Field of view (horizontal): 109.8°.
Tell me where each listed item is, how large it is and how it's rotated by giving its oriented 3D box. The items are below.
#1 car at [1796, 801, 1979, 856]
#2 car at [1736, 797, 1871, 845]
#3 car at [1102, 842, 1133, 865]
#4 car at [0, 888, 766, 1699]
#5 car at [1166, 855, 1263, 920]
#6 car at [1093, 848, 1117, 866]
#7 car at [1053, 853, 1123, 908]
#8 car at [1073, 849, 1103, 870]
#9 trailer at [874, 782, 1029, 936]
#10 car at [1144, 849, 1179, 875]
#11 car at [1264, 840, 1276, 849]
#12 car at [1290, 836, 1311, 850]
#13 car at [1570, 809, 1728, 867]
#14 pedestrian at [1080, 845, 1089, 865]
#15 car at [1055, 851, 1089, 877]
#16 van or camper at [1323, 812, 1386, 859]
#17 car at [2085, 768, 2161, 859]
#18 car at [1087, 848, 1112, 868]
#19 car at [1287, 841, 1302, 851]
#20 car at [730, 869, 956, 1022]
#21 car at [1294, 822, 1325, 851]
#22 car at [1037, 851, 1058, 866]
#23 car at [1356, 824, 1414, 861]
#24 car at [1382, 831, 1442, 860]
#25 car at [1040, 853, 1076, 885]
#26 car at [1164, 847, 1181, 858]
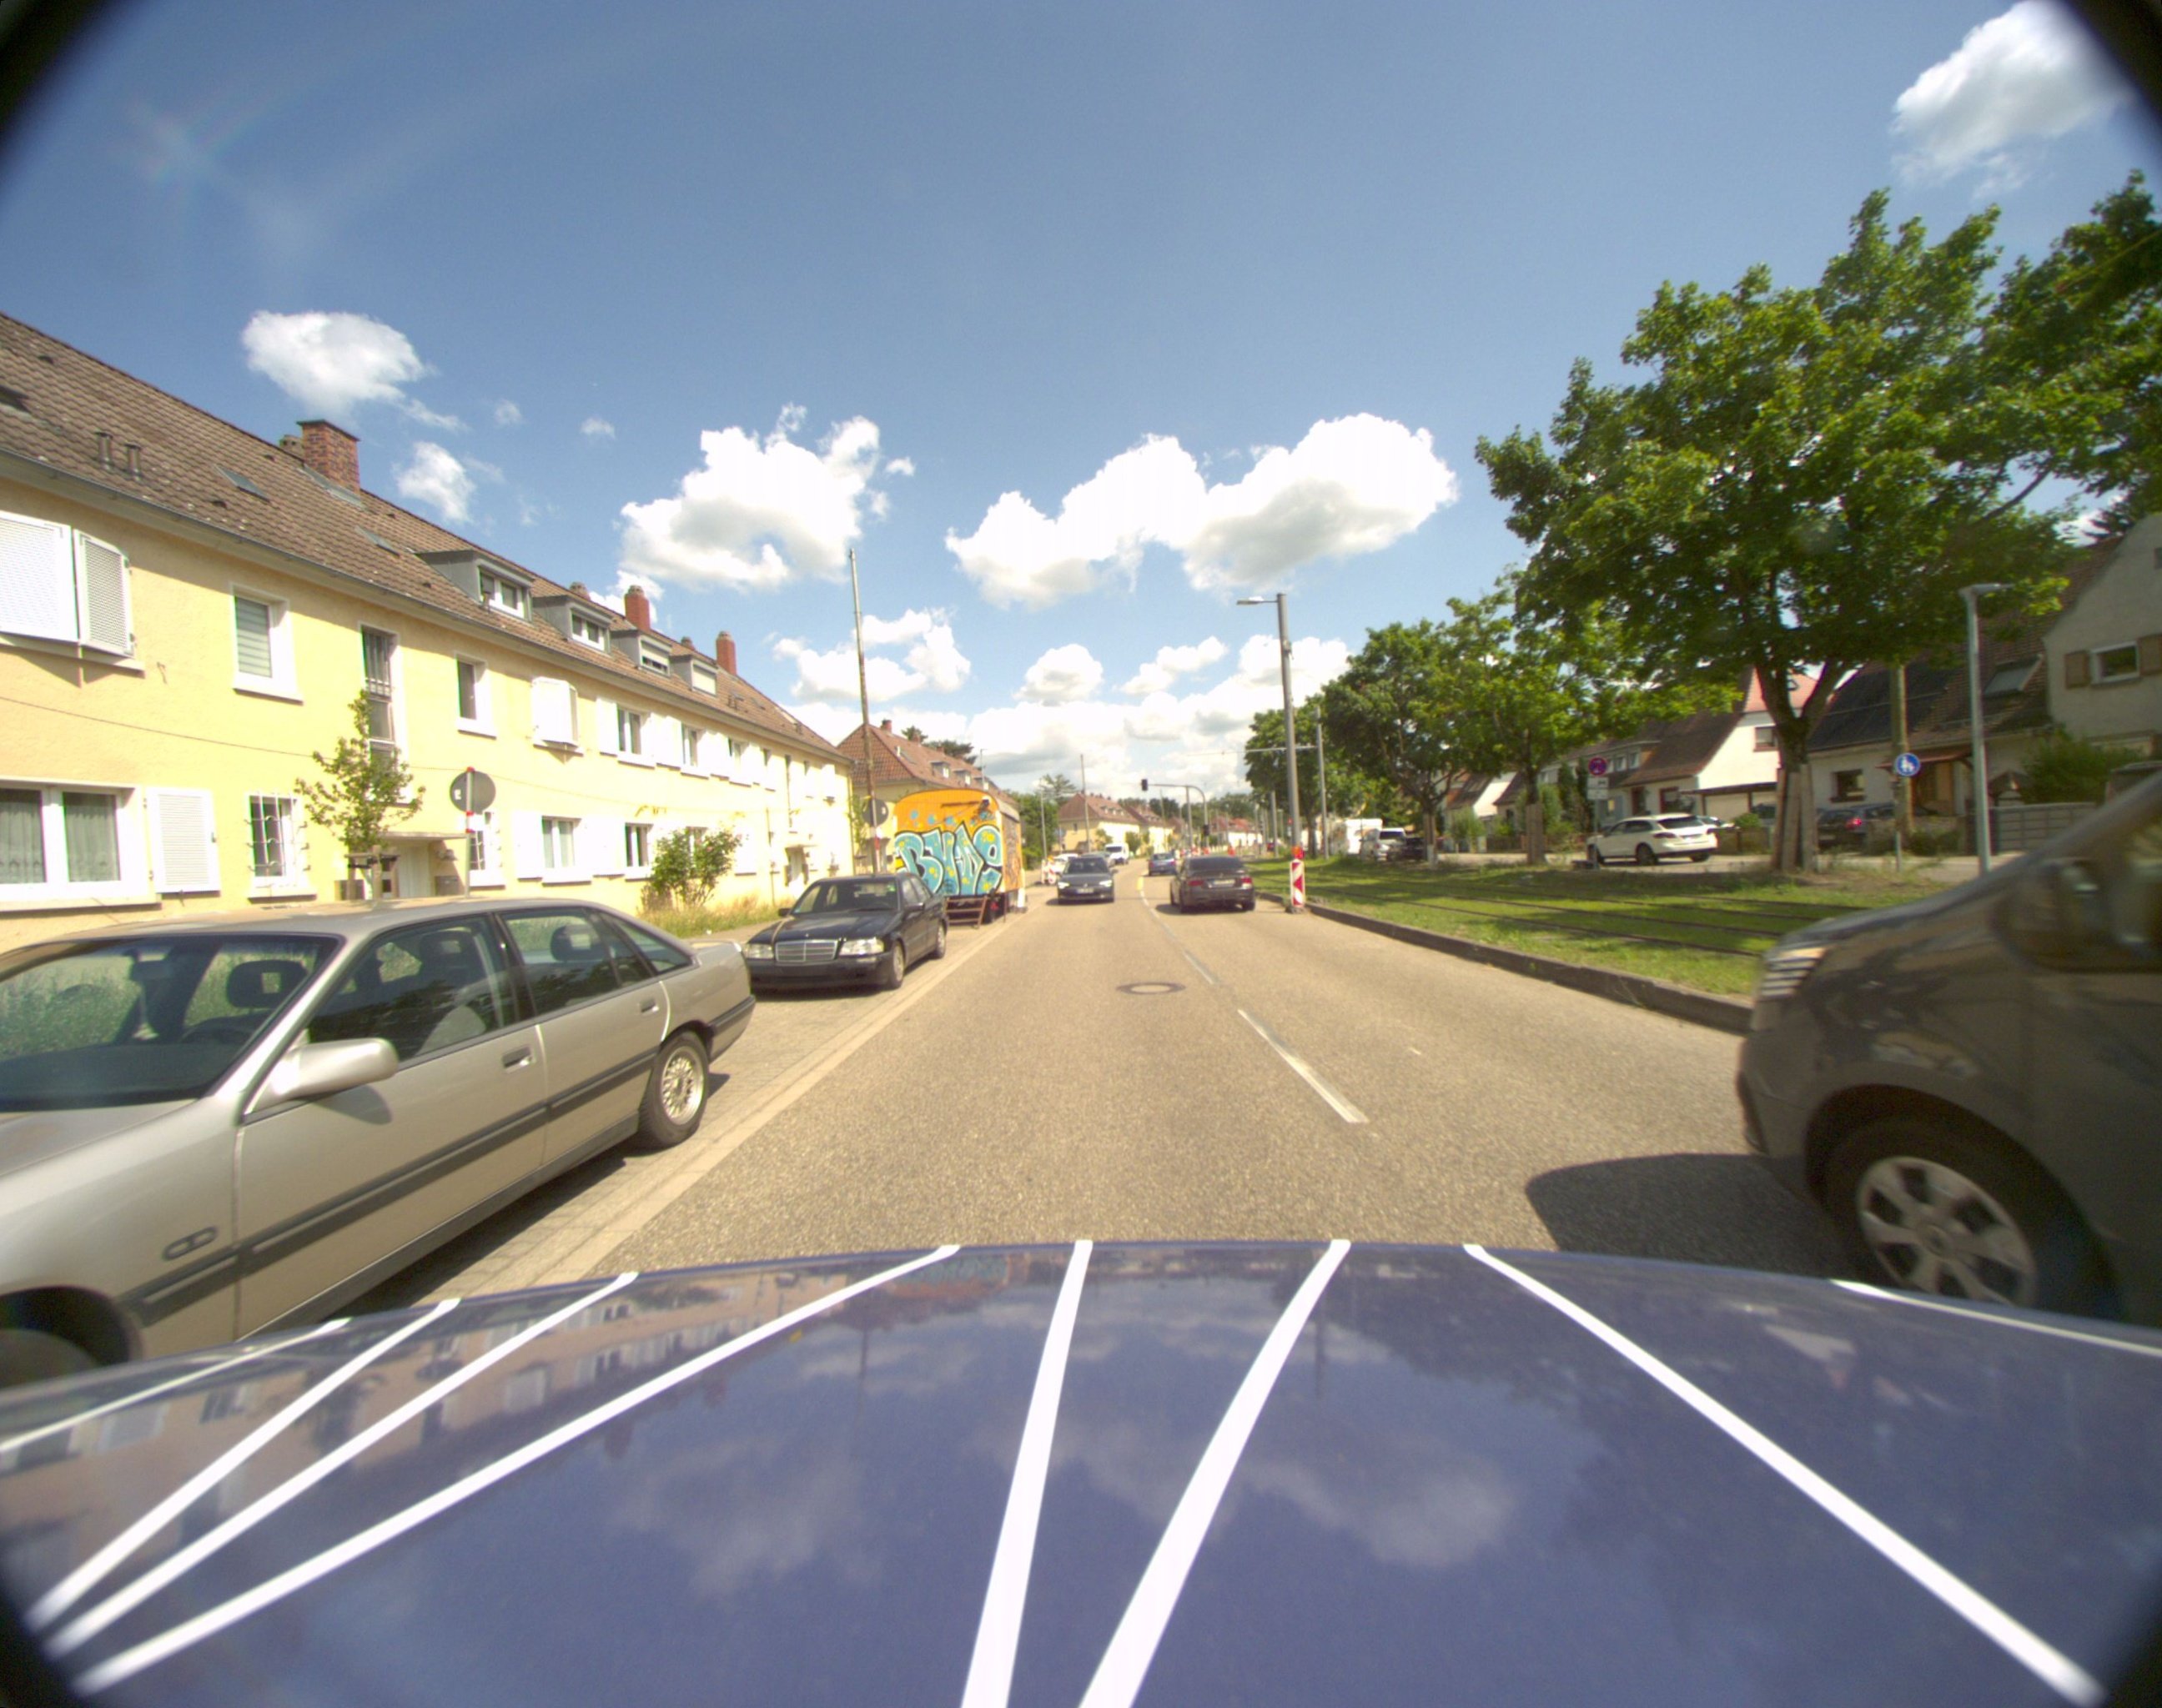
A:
[{"bbox_3d":[25.526,-0.785,24.146,3.893,1.448,1.735,-4,1,1],"label":"car"},{"bbox_3d":[31.104,-1.390,32.782,3.997,1.727,1.799,-4,1,1],"label":"car"},{"bbox_3d":[3.887,-0.134,79.579,2.280,2.170,6.372,-3,1,11],"label":"car"},{"bbox_3d":[-3.052,1.016,2.738,1.711,1.441,4.834,-4,0,0],"label":"car"},{"bbox_3d":[3.311,0.772,19.602,1.729,1.381,4.121,-3,0,0],"label":"car"},{"bbox_3d":[2.269,0.289,69.870,1.711,1.495,4.257,-3,1,7],"label":"car"},{"bbox_3d":[0.335,0.782,25.052,1.741,1.513,4.703,-2,1,7],"label":"car"},{"bbox_3d":[0.564,0.387,57.907,1.753,1.489,4.387,-2,0,7],"label":"car"},{"bbox_3d":[-2.983,0.098,19.052,2.697,3.208,5.082,-4,0,1],"label":"trailer"},{"bbox_3d":[4.777,0.454,45.409,1.669,1.441,3.959,-1,0,0],"label":"car"},{"bbox_3d":[33.633,-1.728,135.268,1.728,1.553,4.546,-3,0,16],"label":"car"},{"bbox_3d":[24.332,-1.203,84.331,1.695,1.456,4.758,-3,0,11],"label":"car"},{"bbox_3d":[20.142,-0.545,27.295,1.886,1.758,5.083,-3,1,1],"label":"car"},{"bbox_3d":[0.378,0.107,81.517,0.774,2.002,0.762,-3,1,9],"label":"pedestrian"},{"bbox_3d":[-0.522,0.590,47.298,1.531,1.472,3.811,-2,1,7],"label":"car"},{"bbox_3d":[19.330,-1.288,54.120,2.380,2.953,7.298,-3,1,6],"label":"van or camper"},{"bbox_3d":[24.975,-1.013,16.917,3.898,1.886,1.940,-5,1,-18],"label":"car"},{"bbox_3d":[1.624,0.340,64.980,1.631,1.541,3.811,-3,1,8],"label":"car"},{"bbox_3d":[34.624,-1.313,123.117,1.727,1.518,4.776,-3,1,21],"label":"car"},{"bbox_3d":[-2.932,1.031,10.411,1.581,1.441,4.453,-4,0,0],"label":"car"},{"bbox_3d":[22.139,-1.674,73.839,2.157,2.653,4.918,-3,1,9],"label":"car"},{"bbox_3d":[-3.843,0.496,88.188,1.631,1.538,3.811,-4,1,9],"label":"car"},{"bbox_3d":[18.705,-0.707,46.996,1.998,2.002,4.906,-4,0,7],"label":"car"},{"bbox_3d":[17.790,-0.483,41.099,1.855,1.379,4.811,-3,0,11],"label":"car"},{"bbox_3d":[-1.185,0.764,40.865,1.466,1.493,4.110,-3,1,4],"label":"car"},{"bbox_3d":[13.771,-0.243,113.773,1.877,1.544,4.990,-3,0,14],"label":"car"}]
